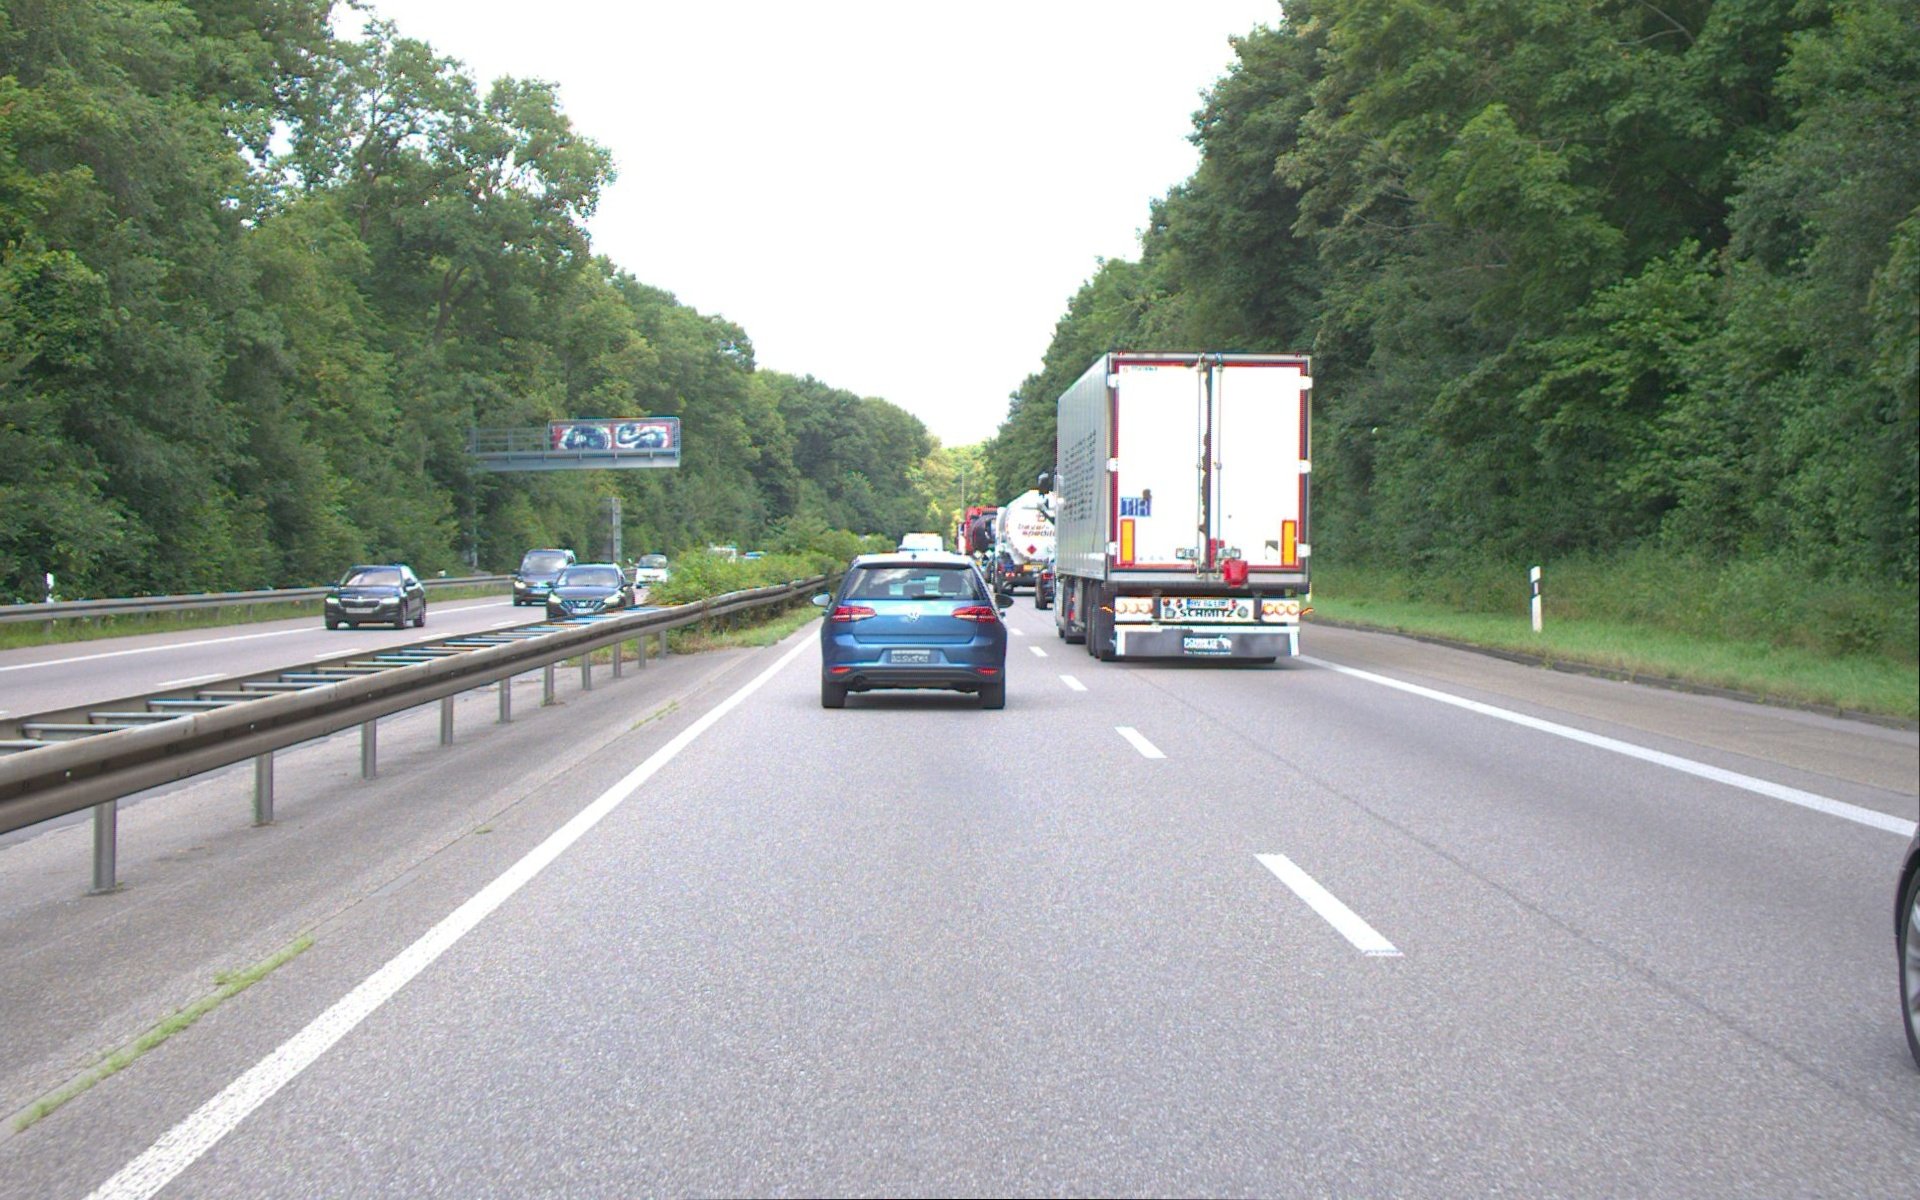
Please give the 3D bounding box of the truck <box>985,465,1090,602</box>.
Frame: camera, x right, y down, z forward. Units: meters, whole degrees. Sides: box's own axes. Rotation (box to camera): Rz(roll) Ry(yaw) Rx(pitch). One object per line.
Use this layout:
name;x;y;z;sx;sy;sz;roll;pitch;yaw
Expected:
truck;2.534;-2.194;116.713;3.232;4.371;12.971;0;0;0

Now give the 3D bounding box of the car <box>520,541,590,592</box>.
car;-13.015;-1.105;110.614;1.760;1.587;4.634;0;1;-1

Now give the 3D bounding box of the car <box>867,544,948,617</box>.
car;-1.091;-0.445;73.230;1.665;1.495;4.152;0;1;0

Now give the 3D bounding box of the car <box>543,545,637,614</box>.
car;-8.593;-0.496;80.122;1.781;1.514;4.267;-1;1;-1

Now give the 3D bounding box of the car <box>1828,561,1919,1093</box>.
car;3.582;0.669;8.065;1.774;1.470;4.881;1;1;-1

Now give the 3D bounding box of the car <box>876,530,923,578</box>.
car;-2.578;-1.975;147.393;1.993;2.007;4.000;-1;1;-1

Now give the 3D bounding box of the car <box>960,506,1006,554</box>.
car;1.145;-3.536;173.260;1.993;2.319;4.443;-1;1;-3

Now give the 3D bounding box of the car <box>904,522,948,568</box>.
car;-1.712;-2.736;170.709;1.993;2.247;4.443;-1;1;-3

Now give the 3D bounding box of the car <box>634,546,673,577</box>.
car;-14.208;-1.796;159.671;1.537;1.391;3.511;-1;1;-1

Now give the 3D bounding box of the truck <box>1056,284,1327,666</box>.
truck;3.029;-1.674;48.280;3.242;4.700;11.007;-1;1;1

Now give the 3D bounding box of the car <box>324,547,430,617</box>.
car;-13.375;-0.437;79.073;1.680;1.514;4.859;-1;1;-1

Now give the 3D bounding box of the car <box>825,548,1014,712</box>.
car;-0.405;0.242;33.346;1.705;1.465;4.000;1;1;-1

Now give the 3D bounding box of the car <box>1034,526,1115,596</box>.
car;2.902;-1.016;87.726;1.888;1.723;4.000;-1;1;0
